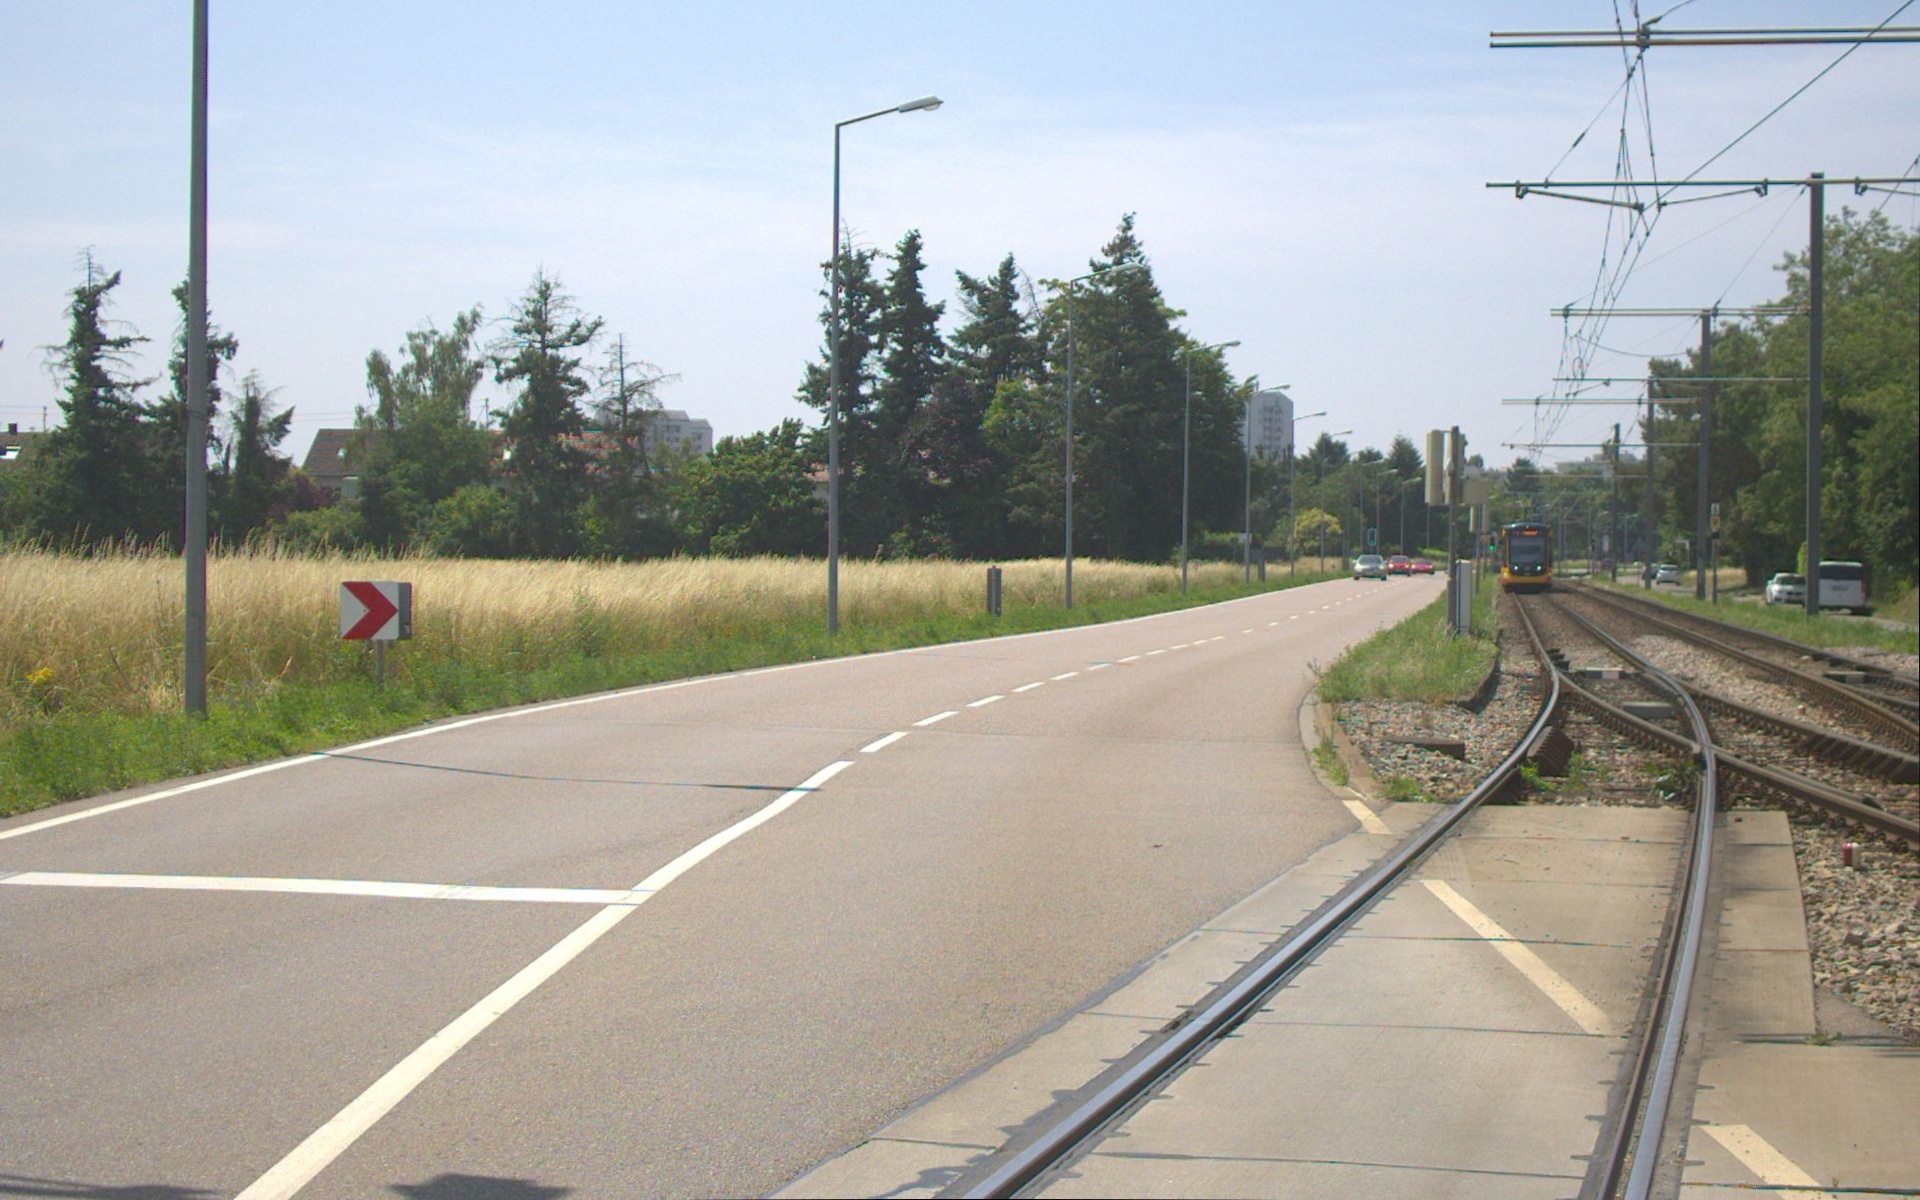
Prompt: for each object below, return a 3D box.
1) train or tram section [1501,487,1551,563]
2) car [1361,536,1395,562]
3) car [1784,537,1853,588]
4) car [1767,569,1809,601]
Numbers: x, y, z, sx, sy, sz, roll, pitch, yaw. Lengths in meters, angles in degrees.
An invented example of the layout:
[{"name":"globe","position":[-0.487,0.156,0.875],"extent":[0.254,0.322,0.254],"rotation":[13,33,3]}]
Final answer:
[{"name":"train or tram section","position":[29.532,-3.848,179.545],"extent":[2.430,3.753,11.555],"rotation":[0,0,9]},{"name":"car","position":[24.615,-3.011,202.350],"extent":[1.835,1.462,4.676],"rotation":[1,0,9]},{"name":"car","position":[31.182,-1.352,125.008],"extent":[1.994,1.796,4.792],"rotation":[0,0,9]},{"name":"car","position":[34.660,-0.639,144.027],"extent":[1.428,1.303,3.464],"rotation":[0,0,9]}]
